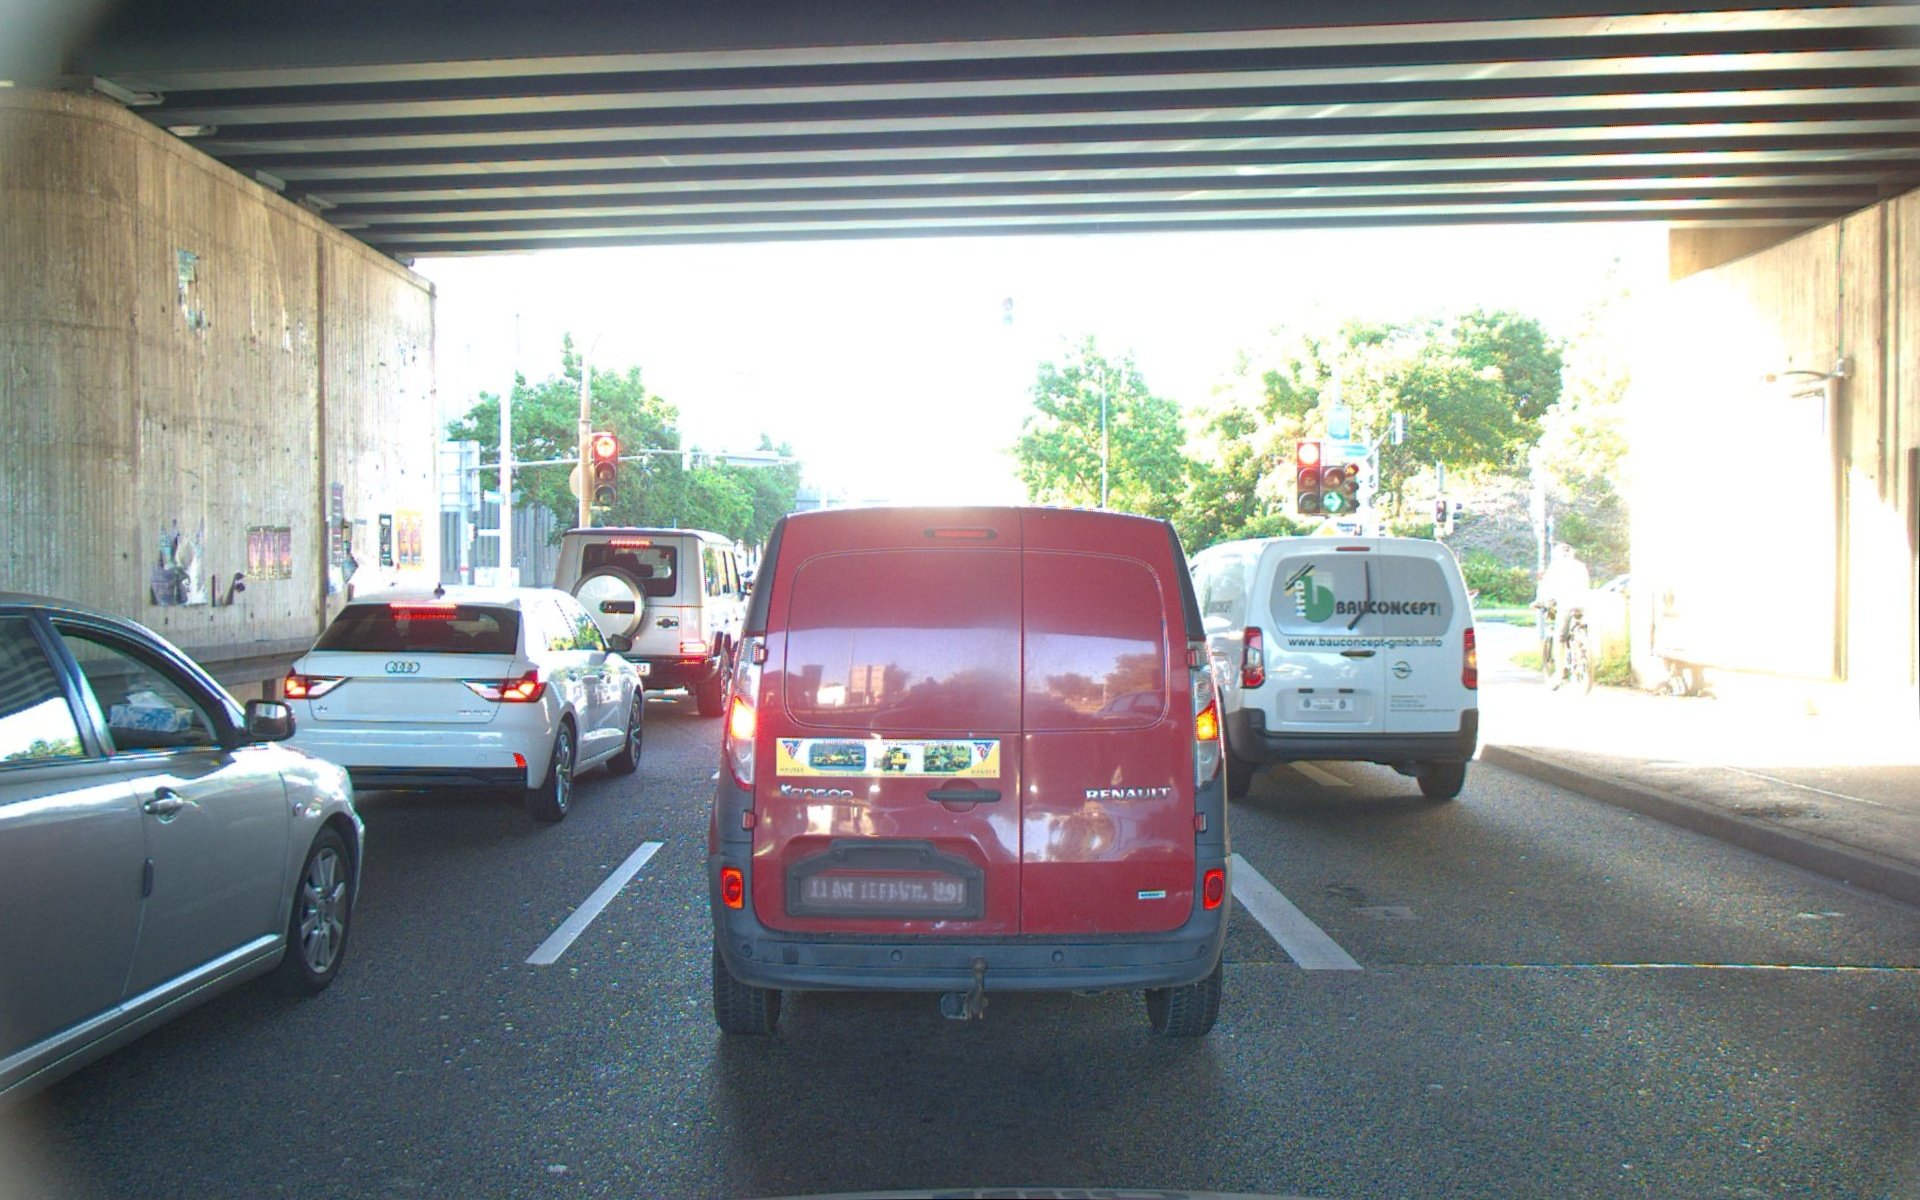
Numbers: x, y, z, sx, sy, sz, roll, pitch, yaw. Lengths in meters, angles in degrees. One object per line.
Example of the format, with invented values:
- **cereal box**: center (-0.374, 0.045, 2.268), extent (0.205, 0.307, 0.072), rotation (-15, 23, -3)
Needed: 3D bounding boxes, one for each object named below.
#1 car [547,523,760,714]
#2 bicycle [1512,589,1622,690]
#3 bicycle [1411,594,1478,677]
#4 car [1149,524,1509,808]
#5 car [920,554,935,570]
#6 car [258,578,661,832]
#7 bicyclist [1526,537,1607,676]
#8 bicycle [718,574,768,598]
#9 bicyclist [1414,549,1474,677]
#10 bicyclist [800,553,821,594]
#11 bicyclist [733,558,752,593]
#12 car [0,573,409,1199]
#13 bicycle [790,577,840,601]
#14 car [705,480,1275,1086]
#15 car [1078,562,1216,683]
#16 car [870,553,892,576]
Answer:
- **car**: center (-3.368, 0.179, 18.849), extent (1.777, 1.937, 3.812), rotation (1, 0, -2)
- **bicycle**: center (7.087, 0.444, 19.372), extent (0.667, 1.132, 1.603), rotation (0, 0, -1)
- **bicycle**: center (6.373, 0.453, 21.799), extent (0.662, 1.042, 1.530), rotation (1, 0, 10)
- **car**: center (2.702, 0.399, 13.153), extent (1.777, 1.865, 4.299), rotation (1, 1, -2)
- **car**: center (-4.299, -5.054, 220.600), extent (1.953, 2.049, 3.999), rotation (1, 0, -1)
- **car**: center (-3.228, 0.594, 11.436), extent (1.658, 1.434, 3.812), rotation (1, 0, -1)
- **bicyclist**: center (7.090, 0.077, 19.364), extent (0.656, 1.589, 0.735), rotation (0, 0, -2)
- **bicycle**: center (-8.330, -0.541, 63.652), extent (1.875, 0.882, 0.605), rotation (0, 0, -5)
- **bicyclist**: center (6.379, 0.169, 21.819), extent (0.663, 1.657, 0.644), rotation (1, 0, 10)
- **bicyclist**: center (-5.826, -1.035, 64.405), extent (0.739, 1.569, 0.696), rotation (0, 0, 0)
- **bicyclist**: center (-8.374, -0.940, 63.630), extent (0.640, 1.352, 0.602), rotation (1, 0, -4)
- **car**: center (-3.009, 0.661, 4.446), extent (1.662, 1.480, 4.397), rotation (1, 0, -2)
- **bicycle**: center (-5.642, -0.426, 64.416), extent (1.913, 0.889, 0.699), rotation (0, 0, -1)
- **car**: center (0.066, 0.538, 6.963), extent (1.684, 1.795, 3.999), rotation (1, 0, -1)
- **car**: center (2.844, 0.305, 25.840), extent (1.741, 1.684, 3.991), rotation (2, 1, 1)
- **car**: center (-7.588, -3.410, 158.962), extent (1.953, 2.049, 3.999), rotation (1, 0, -1)
